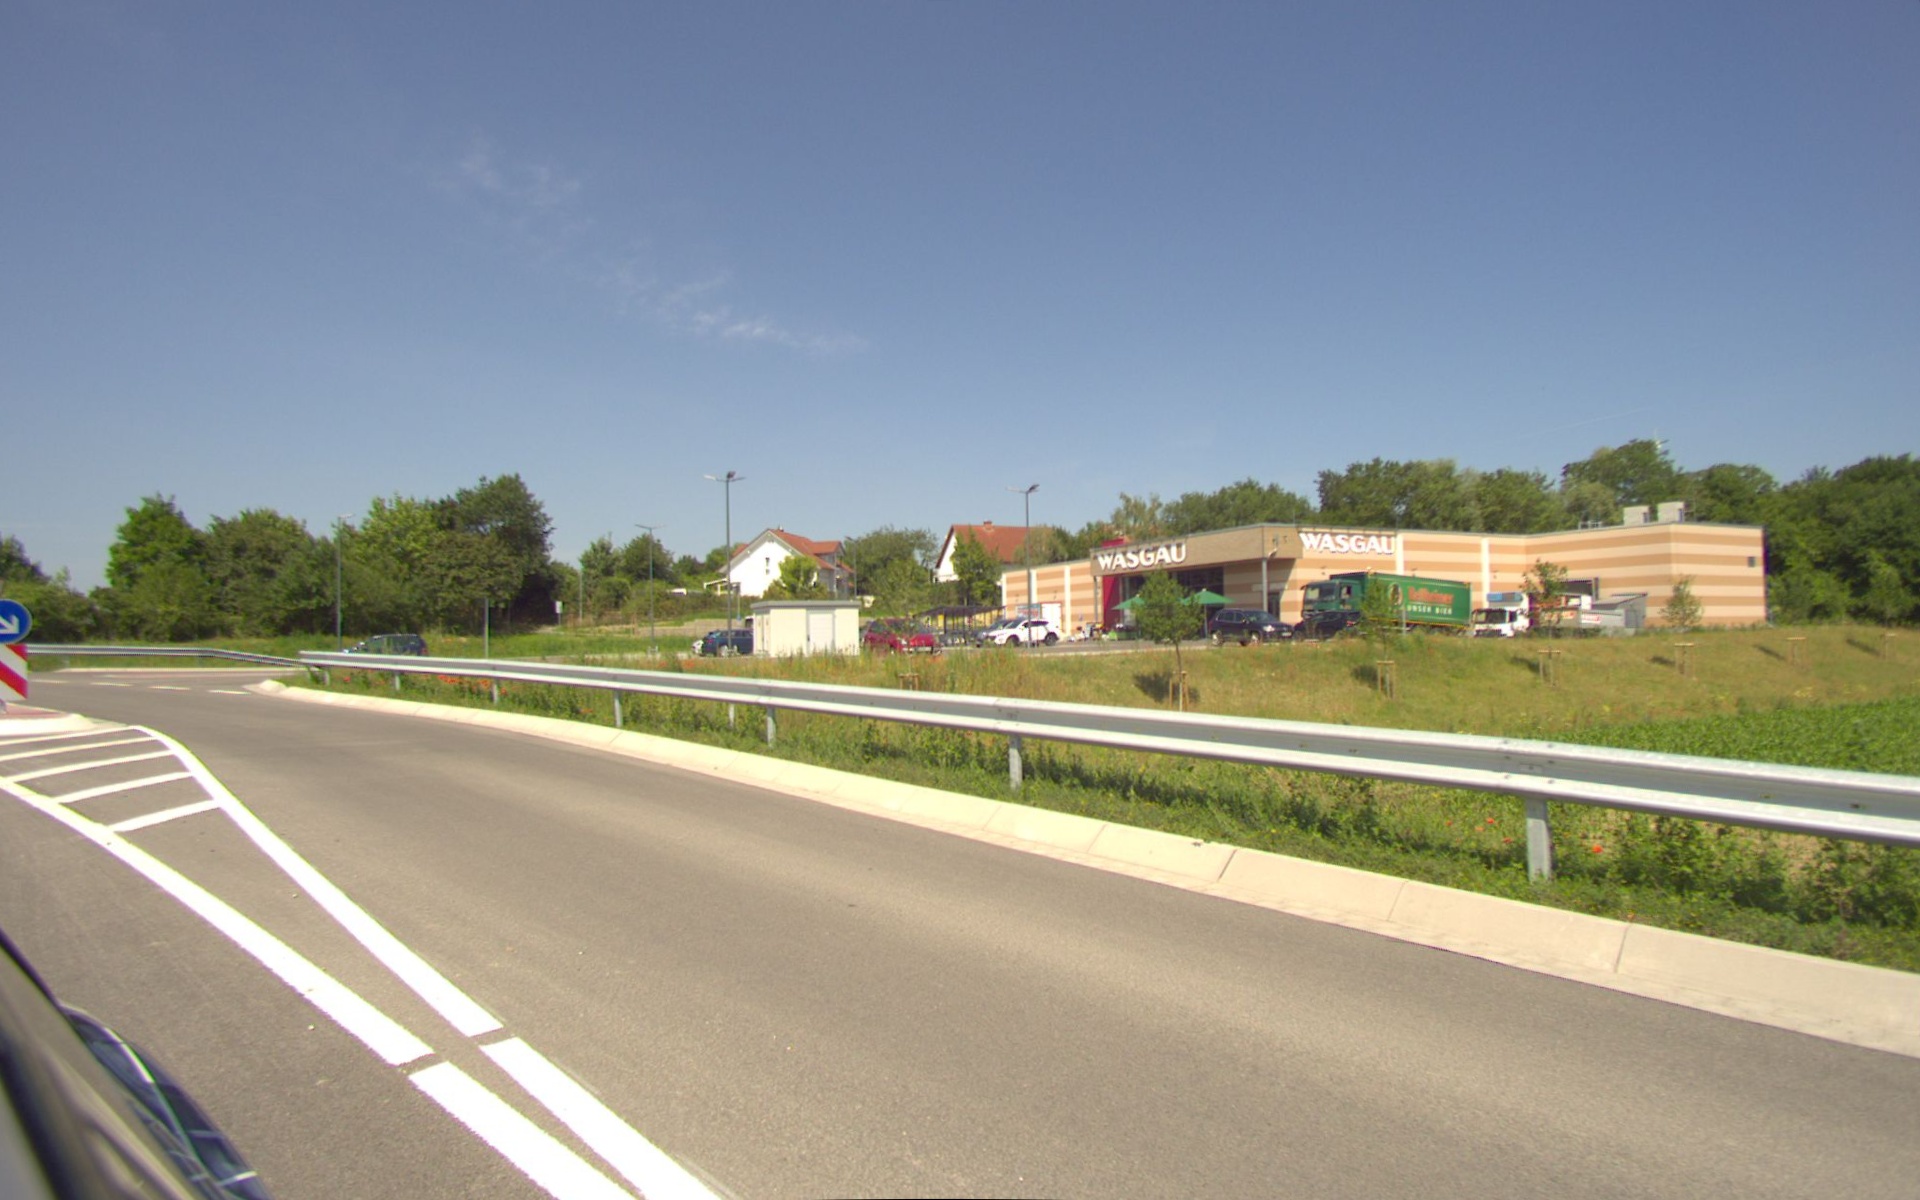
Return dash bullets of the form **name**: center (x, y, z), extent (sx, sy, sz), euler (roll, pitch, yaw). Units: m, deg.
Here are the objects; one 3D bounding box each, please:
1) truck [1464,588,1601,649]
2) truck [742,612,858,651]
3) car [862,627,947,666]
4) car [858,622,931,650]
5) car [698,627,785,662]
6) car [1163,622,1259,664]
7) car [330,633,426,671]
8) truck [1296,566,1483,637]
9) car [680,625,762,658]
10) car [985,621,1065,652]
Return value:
- **truck**: center (35.651, 1.070, 62.951), extent (8.728, 3.591, 2.888), euler (0, 0, -25)
- **truck**: center (-14.054, 2.710, 89.999), extent (10.554, 3.215, 2.451), euler (0, 0, -41)
- **car**: center (-2.053, 1.648, 36.631), extent (1.596, 1.299, 3.685), euler (0, -1, -29)
- **car**: center (-4.181, 2.278, 64.750), extent (4.258, 1.610, 2.006), euler (0, 0, -28)
- **car**: center (-11.786, 2.364, 54.518), extent (4.258, 1.717, 2.007), euler (0, 0, -24)
- **car**: center (11.441, 1.922, 46.363), extent (1.966, 1.773, 4.012), euler (0, -1, -31)
- **car**: center (-29.323, 2.603, 51.148), extent (4.124, 1.717, 2.006), euler (0, 0, -29)
- **truck**: center (22.516, 0.071, 52.933), extent (9.770, 3.503, 2.888), euler (0, 0, -22)
- **car**: center (-13.897, 2.387, 58.953), extent (4.259, 1.717, 2.006), euler (0, 0, -30)
- **car**: center (3.802, 2.110, 59.177), extent (4.258, 1.717, 2.006), euler (0, 0, -27)
